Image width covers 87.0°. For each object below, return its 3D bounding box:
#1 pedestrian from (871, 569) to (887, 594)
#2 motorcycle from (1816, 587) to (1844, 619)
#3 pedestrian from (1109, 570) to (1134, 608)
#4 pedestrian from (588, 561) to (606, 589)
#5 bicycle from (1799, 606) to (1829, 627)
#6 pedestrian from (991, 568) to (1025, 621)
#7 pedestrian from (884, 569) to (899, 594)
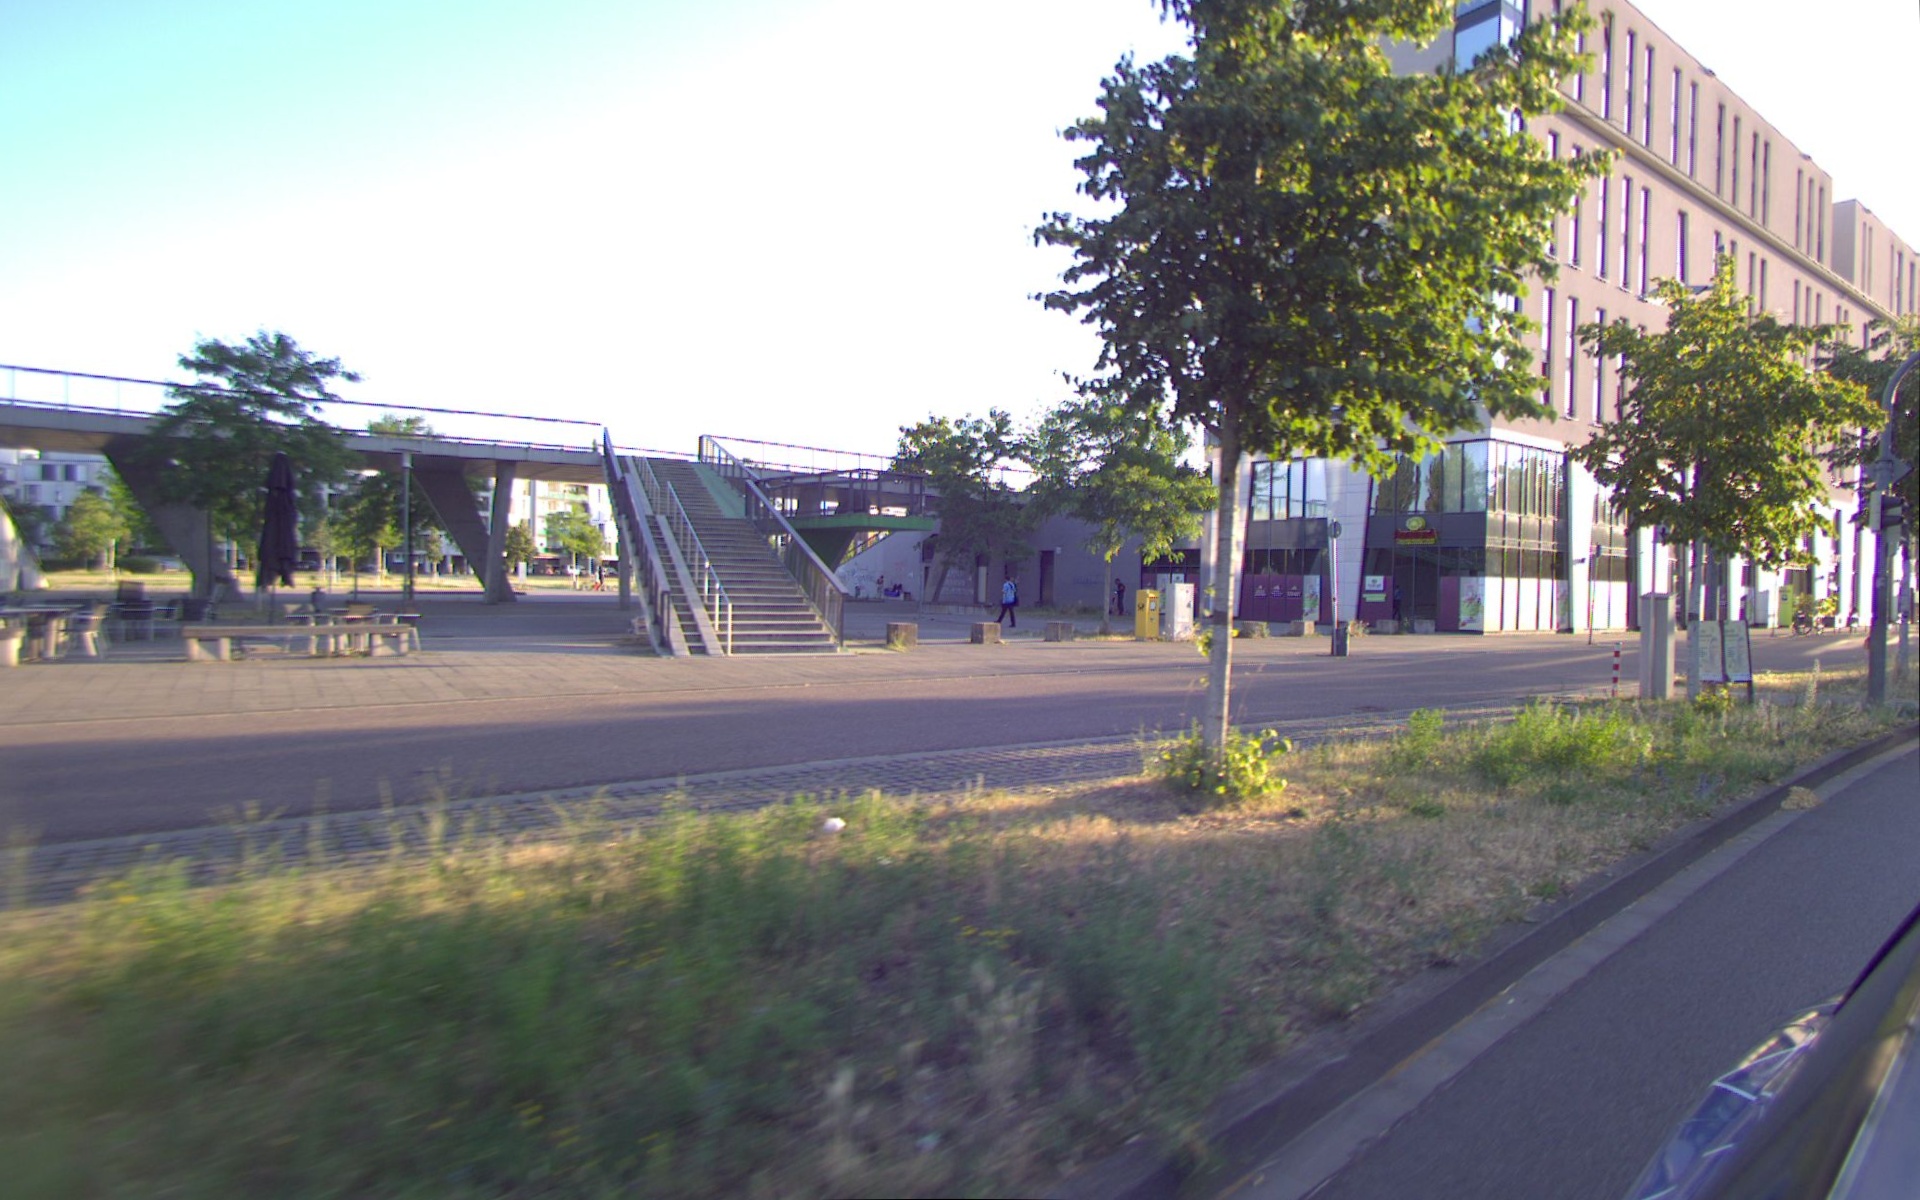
[{"bbox_3d":[-5.414,-1.224,67.633,0.711,1.614,0.790,1,1,29],"label":"pedestrian"},{"bbox_3d":[47.744,0.173,55.532,2.083,1.720,0.690,0,1,-36],"label":"motorcycle"},{"bbox_3d":[7.326,-0.517,45.904,0.750,1.703,0.768,1,1,-34],"label":"pedestrian"},{"bbox_3d":[-27.328,-1.869,76.188,0.996,2.039,1.144,1,1,-33],"label":"pedestrian"},{"bbox_3d":[38.065,0.746,45.119,0.540,0.872,1.566,1,1,21],"label":"bicycle"},{"bbox_3d":[1.742,-0.202,36.634,0.824,1.867,0.897,0,1,-42],"label":"pedestrian"},{"bbox_3d":[-4.520,-1.224,66.703,0.782,1.614,0.718,1,1,-30],"label":"pedestrian"}]
